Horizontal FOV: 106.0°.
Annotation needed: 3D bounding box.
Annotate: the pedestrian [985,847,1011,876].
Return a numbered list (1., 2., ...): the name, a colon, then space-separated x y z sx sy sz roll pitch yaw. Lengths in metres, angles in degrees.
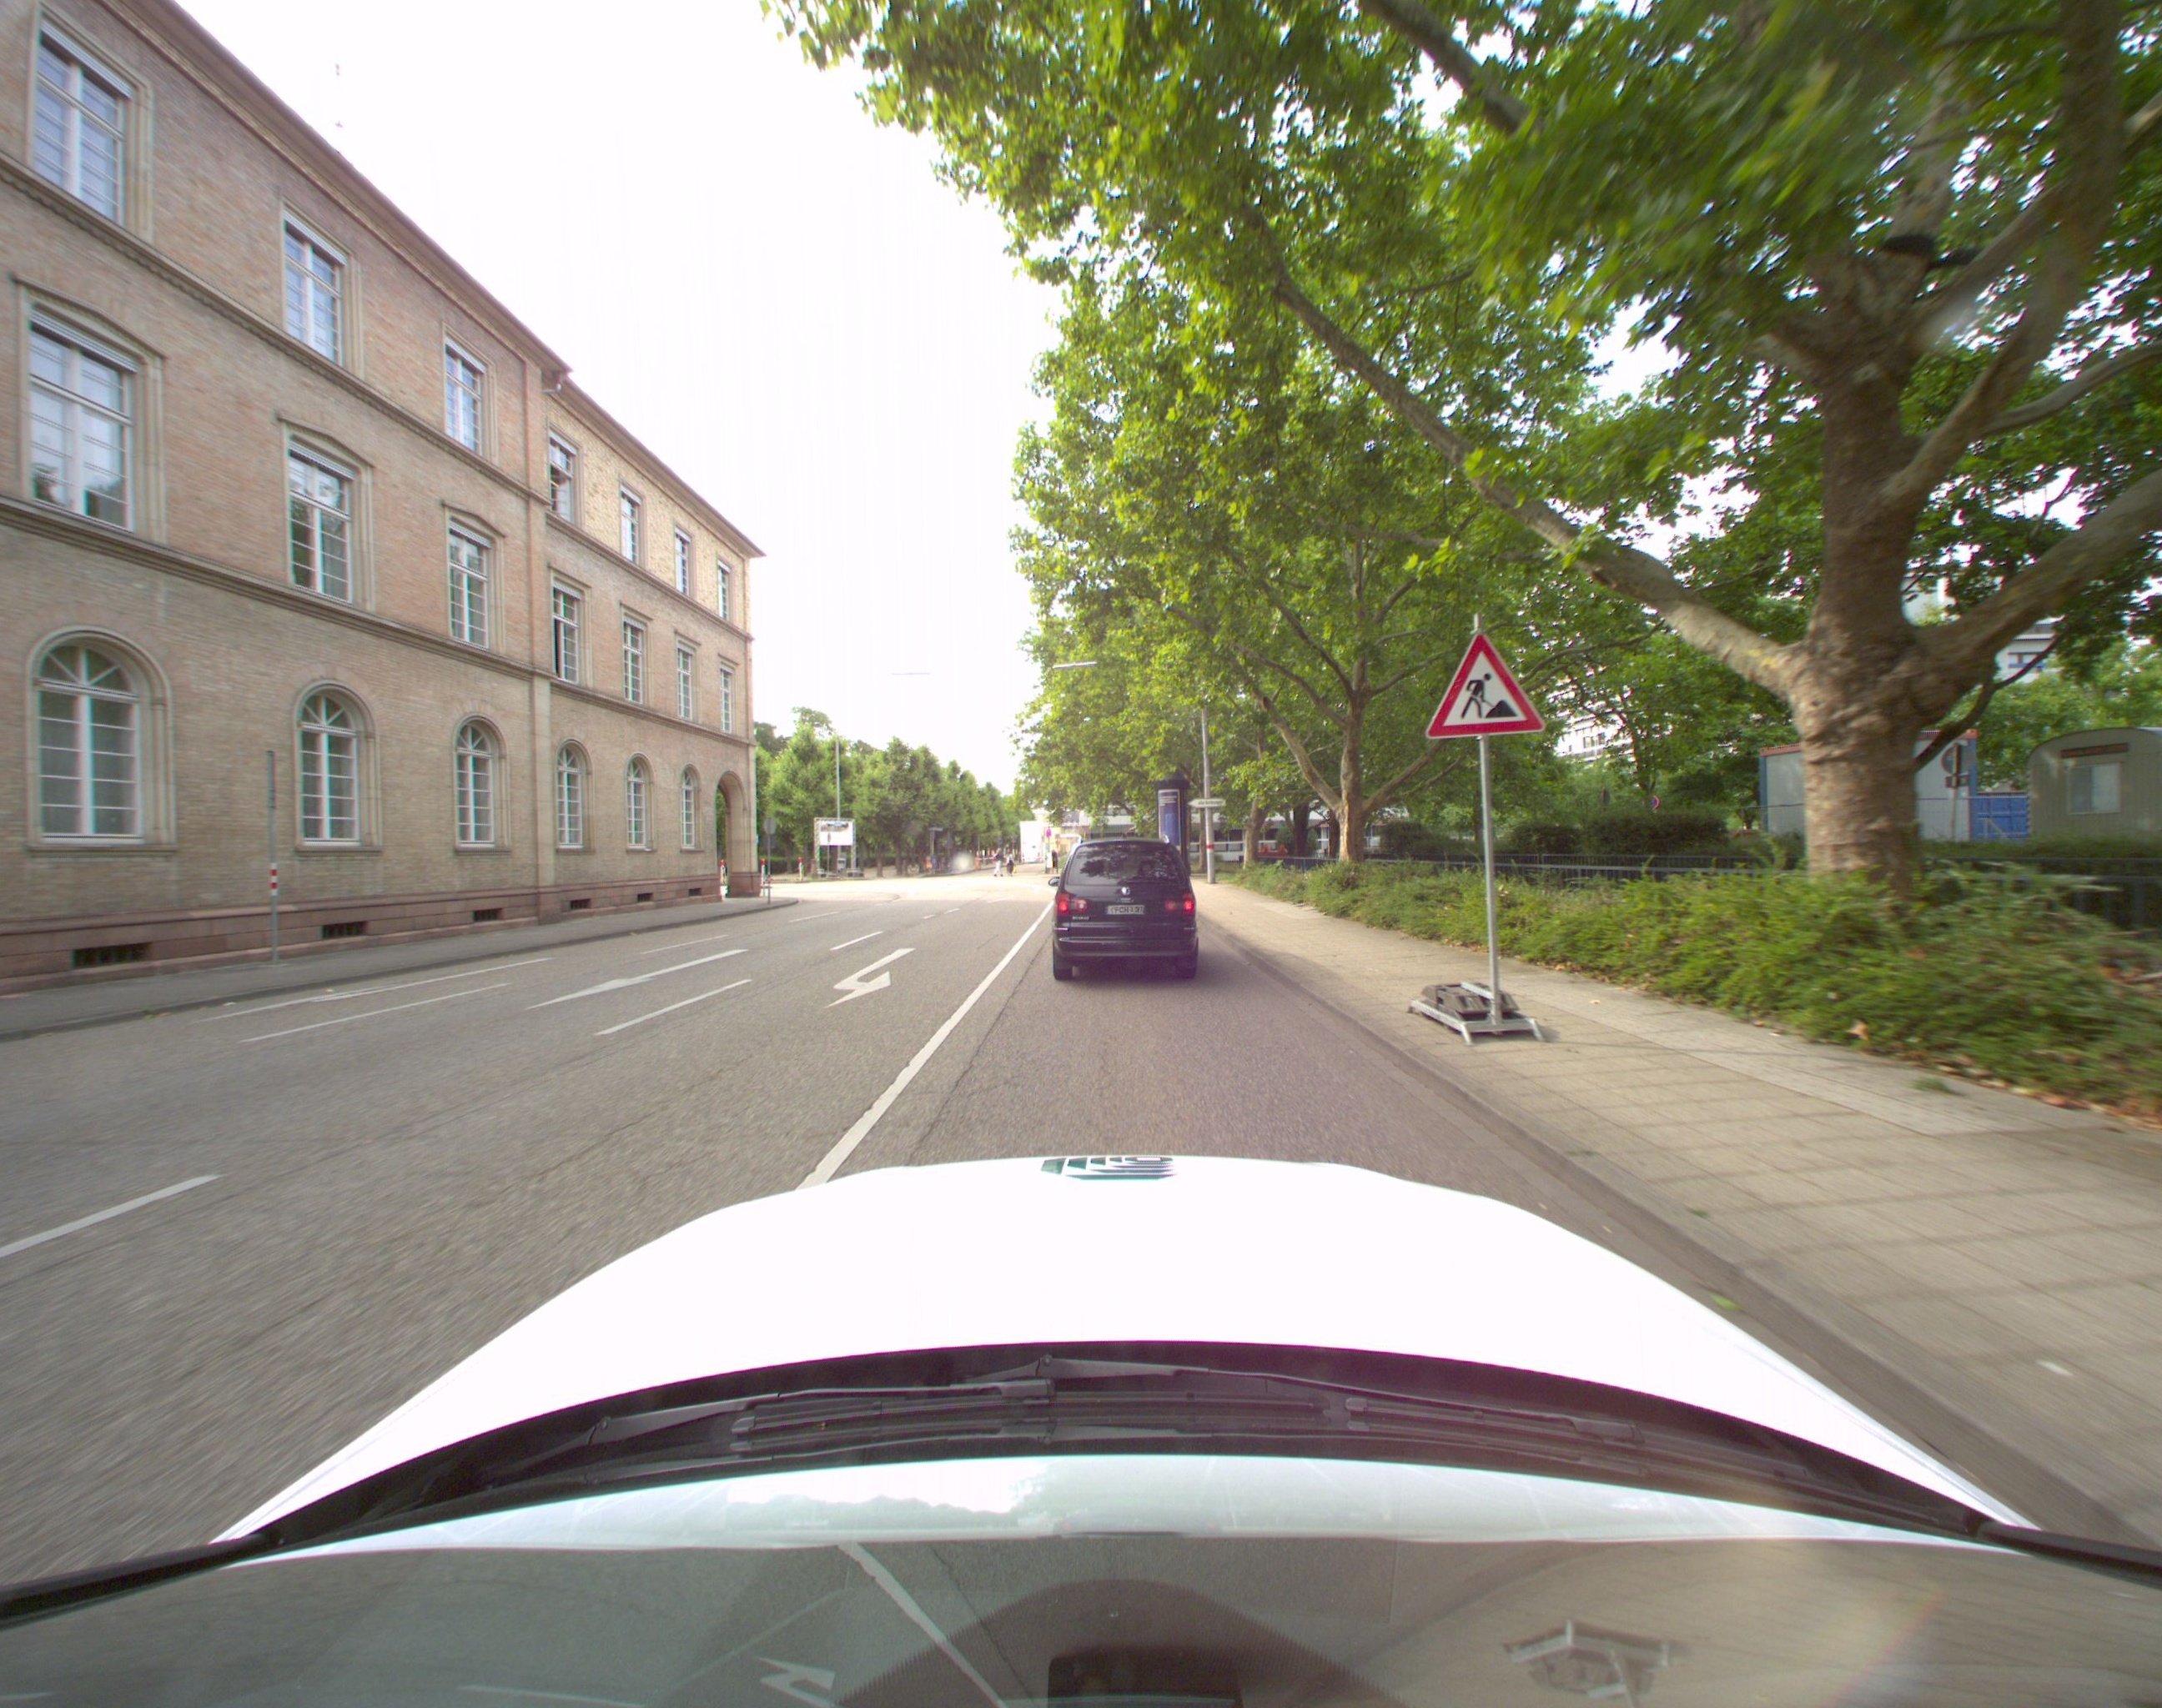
1. pedestrian: -4.968 0.430 48.929 0.951 1.741 1.264 0 0 40

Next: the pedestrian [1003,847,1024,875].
1. pedestrian: -4.047 0.406 48.590 0.887 1.641 0.858 0 0 36

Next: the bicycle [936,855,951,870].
1. bicycle: -11.244 0.686 66.470 0.954 1.110 2.565 0 1 -16

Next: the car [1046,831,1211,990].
1. car: 0.556 0.607 11.112 1.787 1.708 4.131 -2 0 1
